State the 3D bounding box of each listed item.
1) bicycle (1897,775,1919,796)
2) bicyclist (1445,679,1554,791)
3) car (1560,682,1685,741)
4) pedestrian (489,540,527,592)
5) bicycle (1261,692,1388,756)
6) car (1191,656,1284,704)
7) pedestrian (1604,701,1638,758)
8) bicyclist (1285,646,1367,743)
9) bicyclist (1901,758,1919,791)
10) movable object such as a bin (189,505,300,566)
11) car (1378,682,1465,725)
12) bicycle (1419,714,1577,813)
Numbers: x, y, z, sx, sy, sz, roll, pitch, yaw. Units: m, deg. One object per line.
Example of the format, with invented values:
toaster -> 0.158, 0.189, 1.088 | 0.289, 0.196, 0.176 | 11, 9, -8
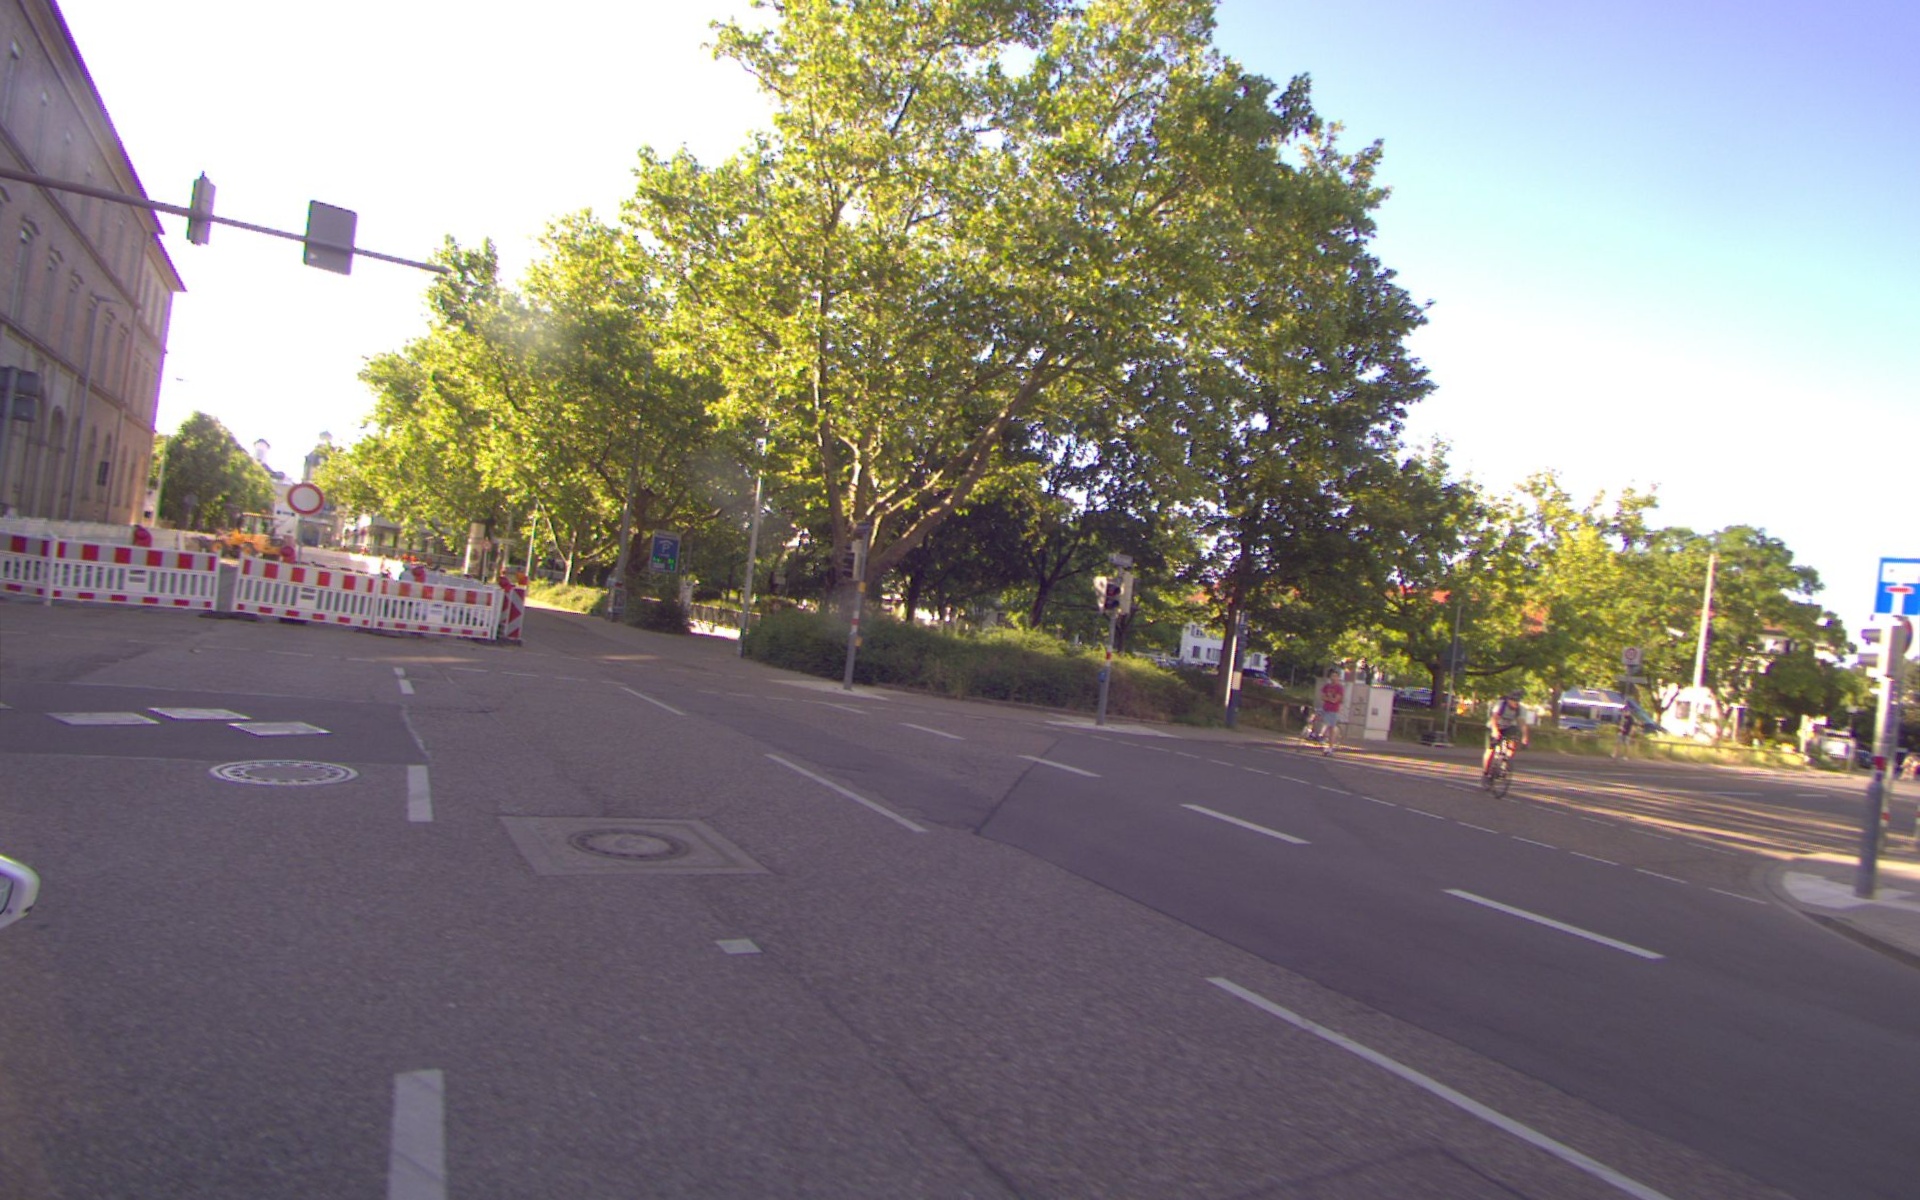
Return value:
bicycle -> 51.523, 10.054, 54.454 | 3.036, 0.960, 0.753 | 9, -2, -40
bicyclist -> 8.776, 2.173, 16.419 | 0.936, 1.565, 1.125 | 7, 1, -2
car -> 31.989, 5.367, 48.663 | 1.986, 2.138, 4.516 | 8, -2, -40
pedestrian -> -25.509, -1.912, 56.771 | 1.400, 2.698, 1.147 | 7, -1, -8
bicycle -> 7.670, 2.618, 21.075 | 2.982, 1.050, 0.933 | 9, -2, -37
car -> 13.673, 3.931, 49.732 | 1.982, 1.800, 3.965 | 8, -2, -33
pedestrian -> 23.383, 4.587, 35.585 | 0.659, 1.877, 1.020 | 7, -1, 45
bicyclist -> 7.629, 1.962, 20.965 | 1.122, 1.829, 0.969 | 8, -1, -36
bicyclist -> 51.601, 9.441, 54.443 | 0.895, 1.611, 0.753 | 8, -1, -39
movable object such as a bin -> -42.704, -3.831, 60.119 | 4.750, 2.809, 2.476 | 7, -1, 9
car -> 26.273, 5.892, 57.385 | 1.982, 1.800, 3.965 | 8, -2, -33
bicycle -> 8.714, 2.617, 16.489 | 0.964, 1.065, 2.658 | 7, 0, -2
